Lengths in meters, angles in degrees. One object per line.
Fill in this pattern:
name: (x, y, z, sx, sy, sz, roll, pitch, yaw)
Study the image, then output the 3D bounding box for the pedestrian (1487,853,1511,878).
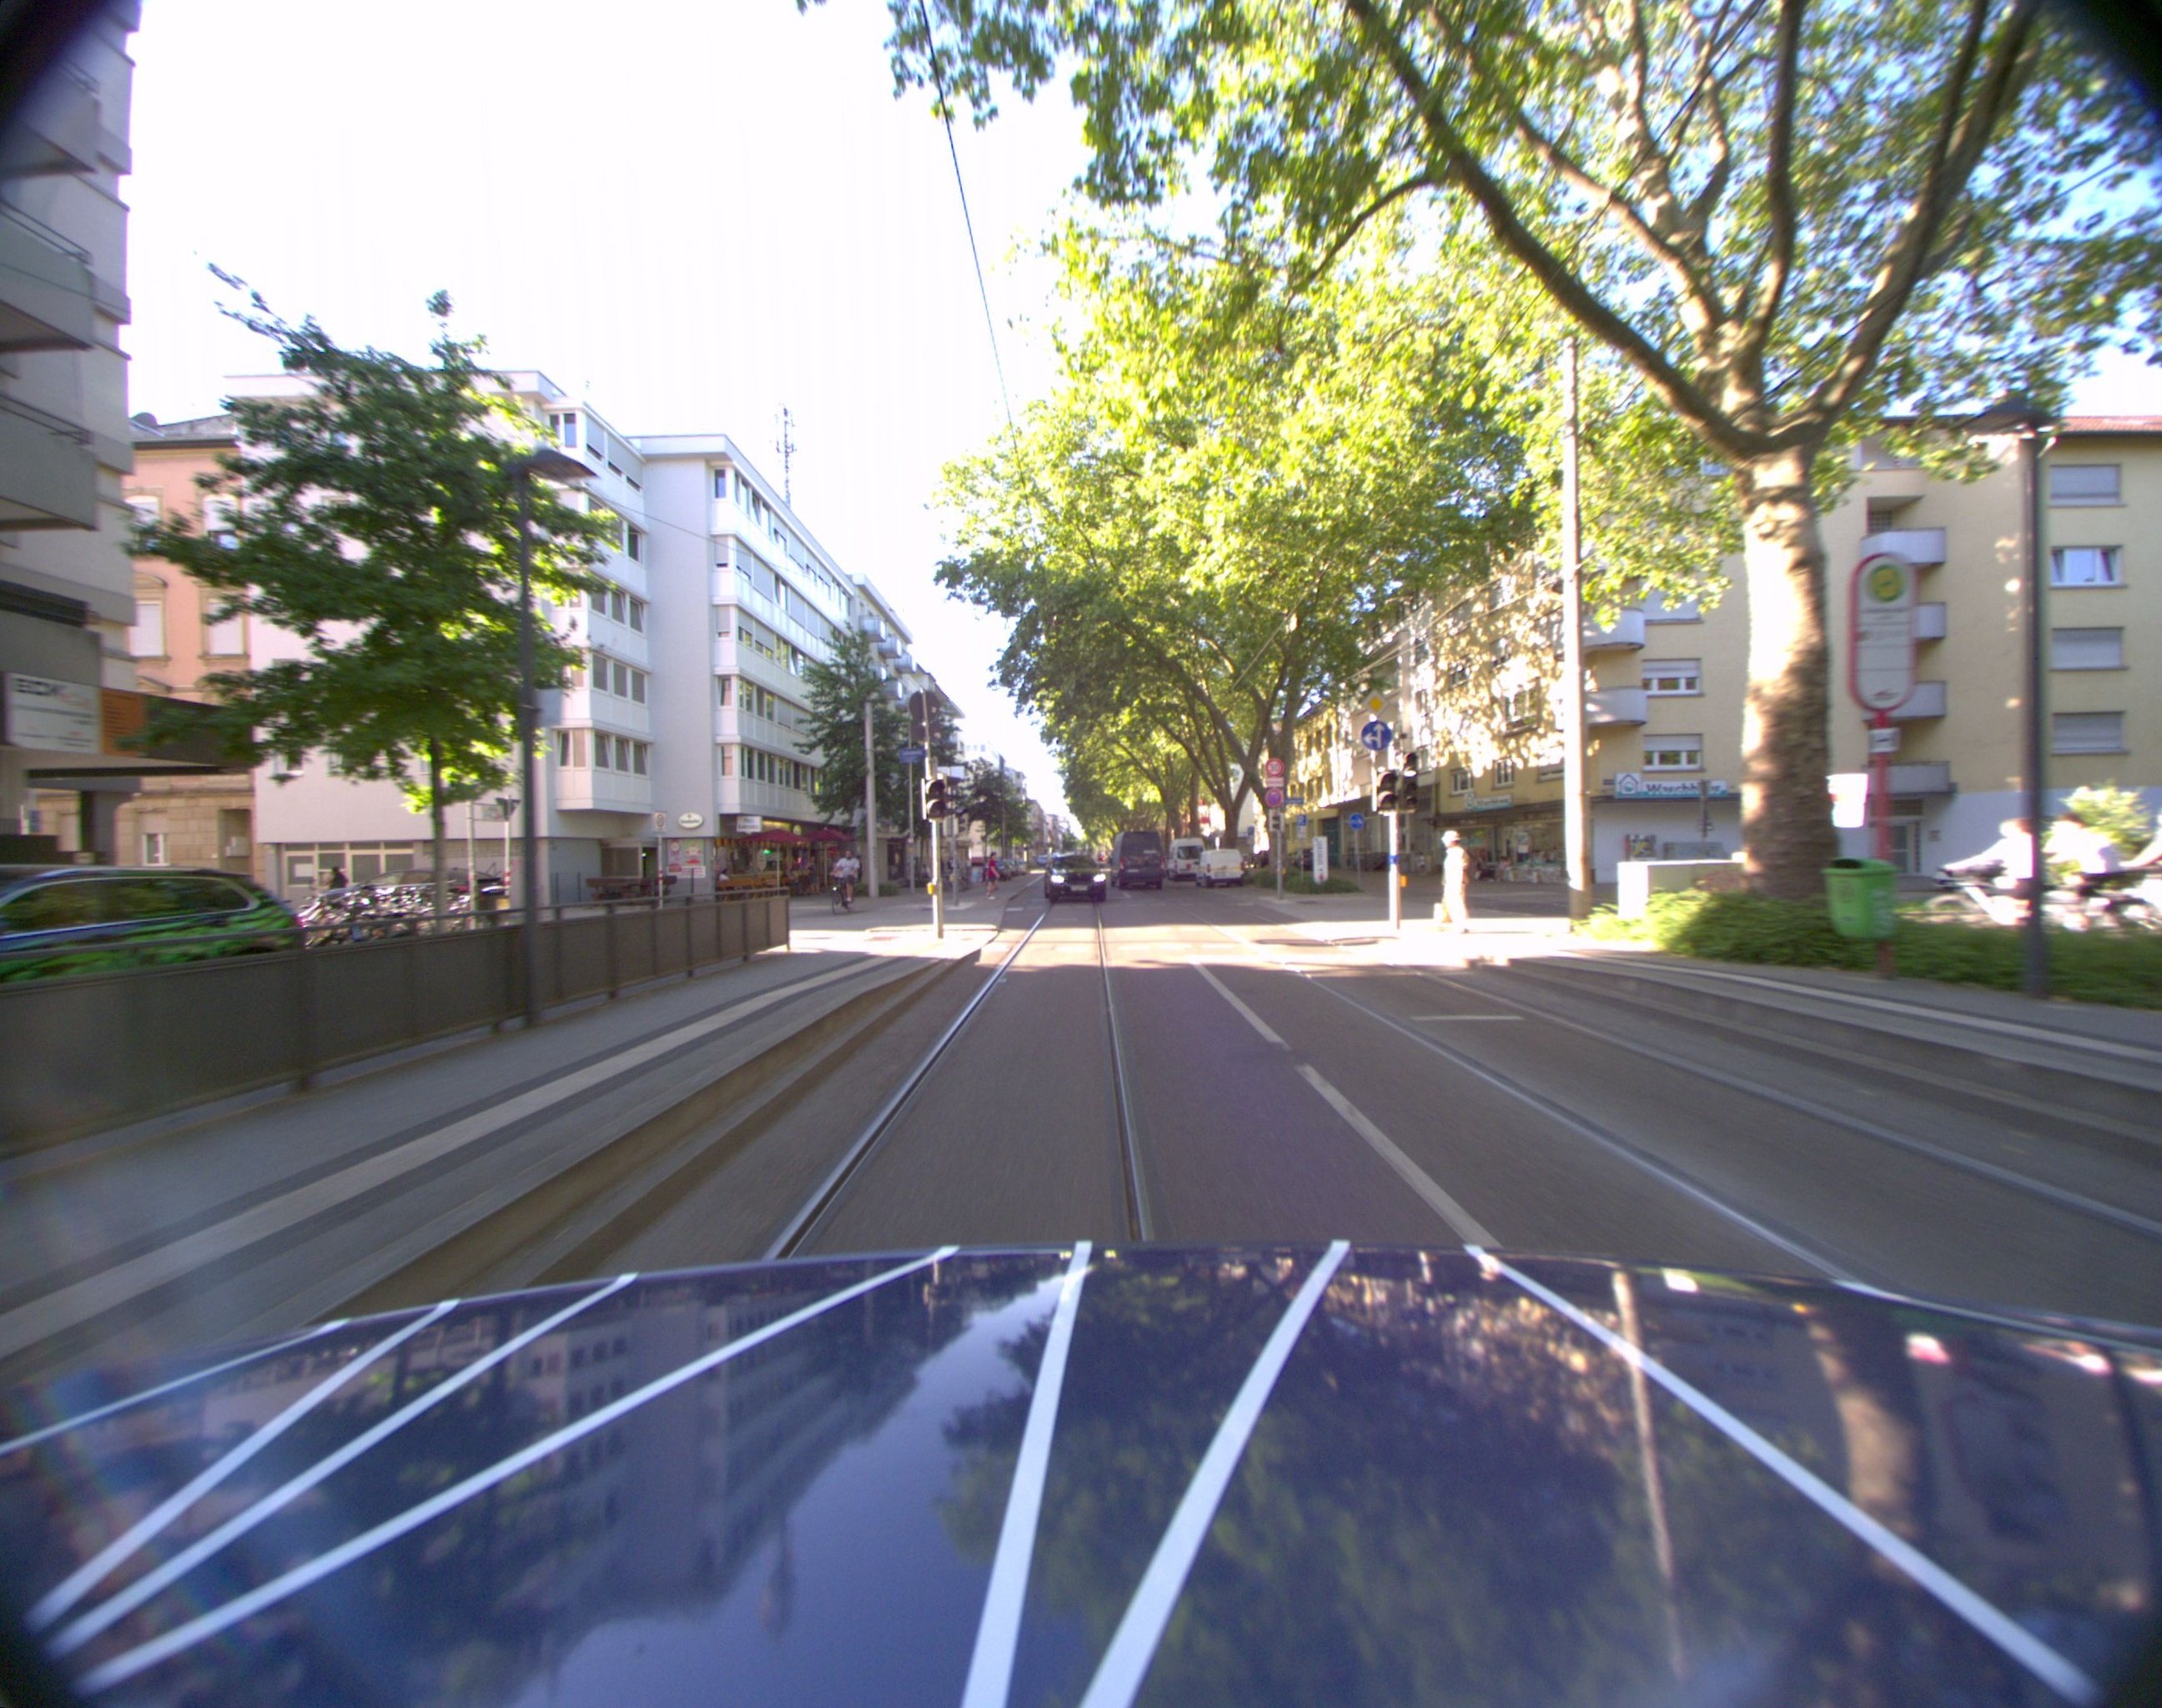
pedestrian: (17.889, 0.475, 32.513, 0.580, 1.041, 0.711, -2, 1, -1)

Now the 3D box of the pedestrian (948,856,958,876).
pedestrian: (-10.464, 0.967, 62.208, 0.643, 1.628, 0.869, 1, 0, -1)

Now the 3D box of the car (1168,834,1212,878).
car: (6.792, 0.100, 48.108, 2.113, 2.562, 6.024, -2, 1, 3)

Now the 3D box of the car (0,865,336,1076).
car: (-9.590, 0.991, 6.467, 1.998, 1.606, 4.445, -2, 1, 1)

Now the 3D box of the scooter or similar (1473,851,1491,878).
scooter or similar: (17.465, 0.454, 33.109, 0.642, 1.160, 0.676, -2, 1, 27)

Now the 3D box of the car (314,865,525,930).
car: (-18.963, 1.224, 21.946, 4.259, 1.583, 1.966, -2, 2, 0)

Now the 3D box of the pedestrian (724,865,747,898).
pedestrian: (-13.750, 1.086, 30.269, 0.536, 1.280, 0.715, -2, 1, 2)

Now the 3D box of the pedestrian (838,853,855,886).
pedestrian: (-13.165, 0.858, 42.691, 0.525, 1.795, 0.633, -1, 2, 44)

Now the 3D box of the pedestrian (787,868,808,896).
pedestrian: (-12.533, 1.226, 33.579, 0.660, 1.168, 0.522, -2, 1, -1)

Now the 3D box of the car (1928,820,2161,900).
car: (21.151, 0.088, 16.179, 3.997, 1.499, 2.000, -2, 1, 0)

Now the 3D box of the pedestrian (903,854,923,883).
pedestrian: (-10.556, 0.937, 47.835, 0.590, 1.774, 0.997, -1, 2, 42)

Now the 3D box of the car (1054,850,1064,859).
car: (-5.146, 0.075, 179.462, 1.991, 2.085, 4.470, -2, 1, 1)

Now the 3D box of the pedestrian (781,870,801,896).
pedestrian: (-12.448, 1.246, 32.618, 0.643, 1.072, 0.522, -2, 1, -1)

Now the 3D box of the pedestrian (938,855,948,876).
pedestrian: (-11.281, 0.956, 62.163, 0.597, 1.668, 0.934, 1, 1, -2)

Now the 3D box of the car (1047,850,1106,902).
car: (-0.113, 0.741, 28.036, 1.998, 1.723, 4.399, -1, 1, 1)

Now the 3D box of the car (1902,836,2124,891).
car: (26.937, 0.256, 22.077, 3.997, 1.368, 2.000, -2, 1, 0)

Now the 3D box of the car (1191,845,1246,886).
car: (6.651, 0.511, 37.165, 1.768, 1.840, 4.317, -2, 1, -1)

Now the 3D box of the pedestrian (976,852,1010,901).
pedestrian: (-3.262, 0.824, 28.257, 1.046, 1.748, 0.878, -2, 1, 5)

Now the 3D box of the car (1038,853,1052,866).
car: (-6.072, 0.913, 129.291, 1.958, 1.914, 4.000, -2, 1, 1)

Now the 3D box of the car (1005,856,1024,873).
car: (-6.138, 0.983, 70.453, 1.448, 1.528, 2.881, 1, 0, 0)

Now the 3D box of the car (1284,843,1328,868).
car: (17.126, 0.090, 58.106, 1.998, 1.723, 4.897, -2, 1, 1)

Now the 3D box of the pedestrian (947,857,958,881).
pedestrian: (-10.019, 1.182, 59.319, 0.663, 1.841, 0.539, -2, 1, 0)

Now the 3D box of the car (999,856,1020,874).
car: (-6.233, 0.973, 66.618, 1.627, 1.473, 3.888, 1, 0, -2)

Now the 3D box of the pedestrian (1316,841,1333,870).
pedestrian: (15.742, 0.095, 49.047, 0.746, 1.859, 0.863, -2, 1, -1)

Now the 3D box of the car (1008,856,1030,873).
car: (-6.026, 0.991, 74.447, 1.791, 1.528, 4.127, 1, 0, 0)

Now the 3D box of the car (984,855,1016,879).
car: (-5.875, 0.921, 55.599, 1.763, 1.578, 4.328, 2, 1, 0)

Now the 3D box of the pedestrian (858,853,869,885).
pedestrian: (-12.553, 0.871, 43.864, 0.432, 1.786, 0.489, -2, 1, -1)

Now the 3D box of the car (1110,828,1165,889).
car: (2.683, 0.178, 37.518, 2.119, 2.722, 6.113, 0, 1, -1)

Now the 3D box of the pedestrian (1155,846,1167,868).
pedestrian: (6.612, 0.232, 62.655, 0.769, 1.767, 0.714, -2, 1, 16)

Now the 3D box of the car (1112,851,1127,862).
car: (5.785, 0.343, 114.202, 1.928, 1.674, 4.181, 1, 1, -1)

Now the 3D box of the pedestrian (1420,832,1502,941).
pedestrian: (6.650, 0.548, 13.338, 0.926, 1.825, 0.920, -2, 1, -3)

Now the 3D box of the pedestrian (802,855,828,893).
pedestrian: (-12.110, 0.905, 34.594, 0.813, 1.649, 0.680, -2, 1, 17)
